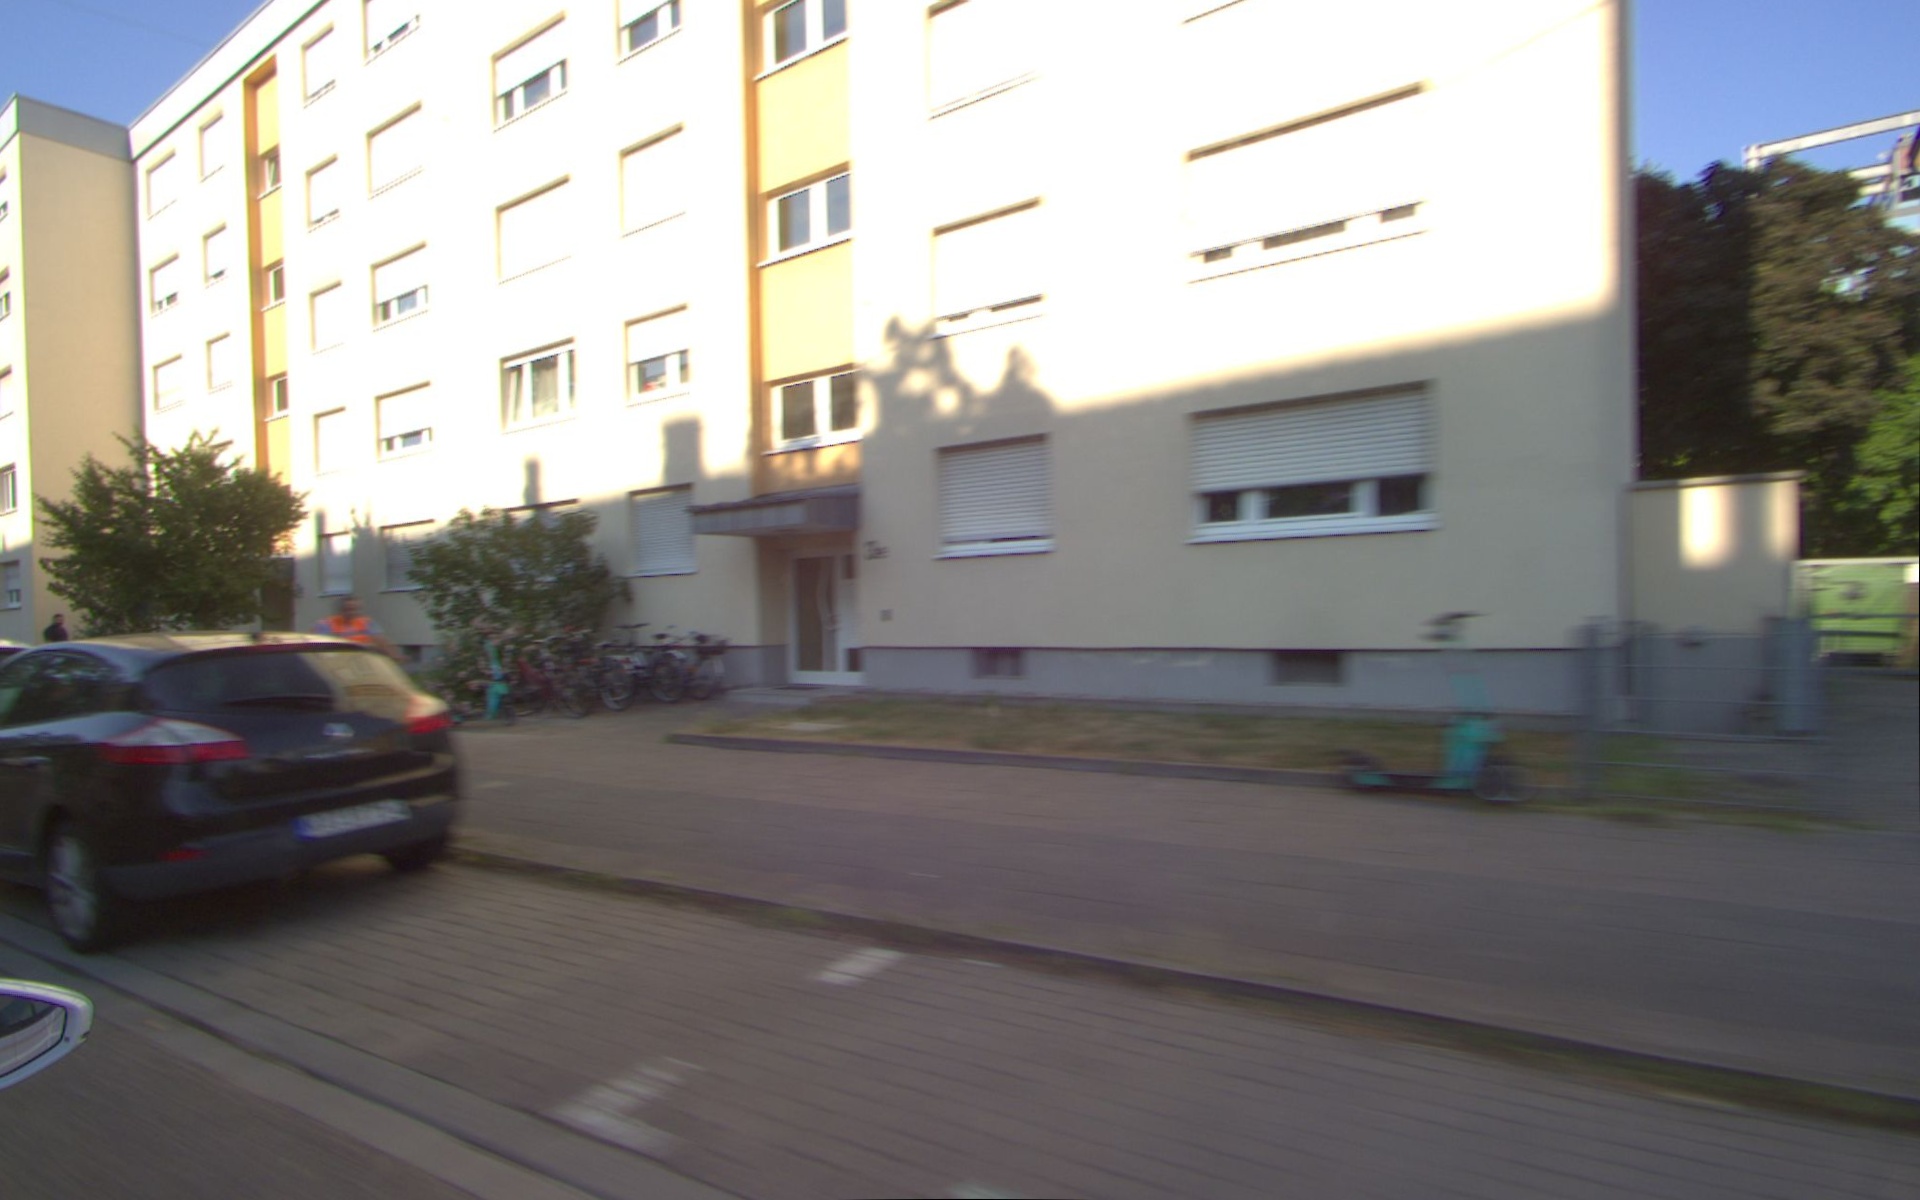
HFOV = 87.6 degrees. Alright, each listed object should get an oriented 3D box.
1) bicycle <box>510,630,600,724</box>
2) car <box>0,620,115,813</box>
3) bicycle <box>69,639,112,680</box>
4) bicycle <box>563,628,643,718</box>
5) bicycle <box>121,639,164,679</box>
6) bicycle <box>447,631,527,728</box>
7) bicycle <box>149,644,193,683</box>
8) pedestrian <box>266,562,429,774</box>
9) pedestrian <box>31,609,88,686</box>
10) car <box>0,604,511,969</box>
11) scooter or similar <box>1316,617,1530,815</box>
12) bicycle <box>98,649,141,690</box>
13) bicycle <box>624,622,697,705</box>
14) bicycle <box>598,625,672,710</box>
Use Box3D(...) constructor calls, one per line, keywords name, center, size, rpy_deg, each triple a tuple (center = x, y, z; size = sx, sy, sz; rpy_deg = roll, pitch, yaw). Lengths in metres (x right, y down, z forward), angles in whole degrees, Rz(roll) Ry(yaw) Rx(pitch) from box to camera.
Box3D(name="bicycle", center=(-5.455, 1.026, 13.472), size=(1.220, 1.208, 0.333), rpy_deg=(-2, 1, 25))
Box3D(name="car", center=(-9.546, 1.040, 9.025), size=(3.943, 1.528, 1.767), rpy_deg=(-2, 1, 32))
Box3D(name="bicycle", center=(-20.739, 1.425, 23.884), size=(1.769, 0.953, 0.436), rpy_deg=(-3, -3, 38))
Box3D(name="bicycle", center=(-5.006, 1.009, 14.011), size=(1.223, 1.208, 0.332), rpy_deg=(-2, 0, 32))
Box3D(name="bicycle", center=(-20.182, 1.461, 24.713), size=(1.769, 0.953, 0.436), rpy_deg=(-3, -3, 38))
Box3D(name="bicycle", center=(-6.115, 1.014, 12.936), size=(1.223, 1.207, 0.333), rpy_deg=(-2, -3, 32))
Box3D(name="bicycle", center=(-19.817, 1.588, 25.144), size=(1.769, 0.953, 0.436), rpy_deg=(-3, -3, 38))
Box3D(name="pedestrian", center=(-5.985, 0.653, 9.798), size=(1.261, 1.914, 0.887), rpy_deg=(-2, -2, 32))
Box3D(name="pedestrian", center=(-20.197, 1.059, 22.460), size=(0.529, 1.680, 0.764), rpy_deg=(-2, 2, 32))
Box3D(name="car", center=(-4.999, 0.872, 6.128), size=(4.554, 1.526, 1.796), rpy_deg=(-2, -1, 30))
Box3D(name="scooter or similar", center=(3.052, 0.739, 6.643), size=(1.223, 1.208, 0.332), rpy_deg=(-2, 2, 32))
Box3D(name="bicycle", center=(-20.399, 1.685, 24.300), size=(1.769, 0.953, 0.436), rpy_deg=(-3, -3, 38))
Box3D(name="bicycle", center=(-4.483, 0.951, 14.978), size=(1.223, 1.207, 0.332), rpy_deg=(-2, -2, 32))
Box3D(name="bicycle", center=(-4.778, 0.982, 14.708), size=(1.223, 1.207, 0.332), rpy_deg=(-2, -2, 32))
